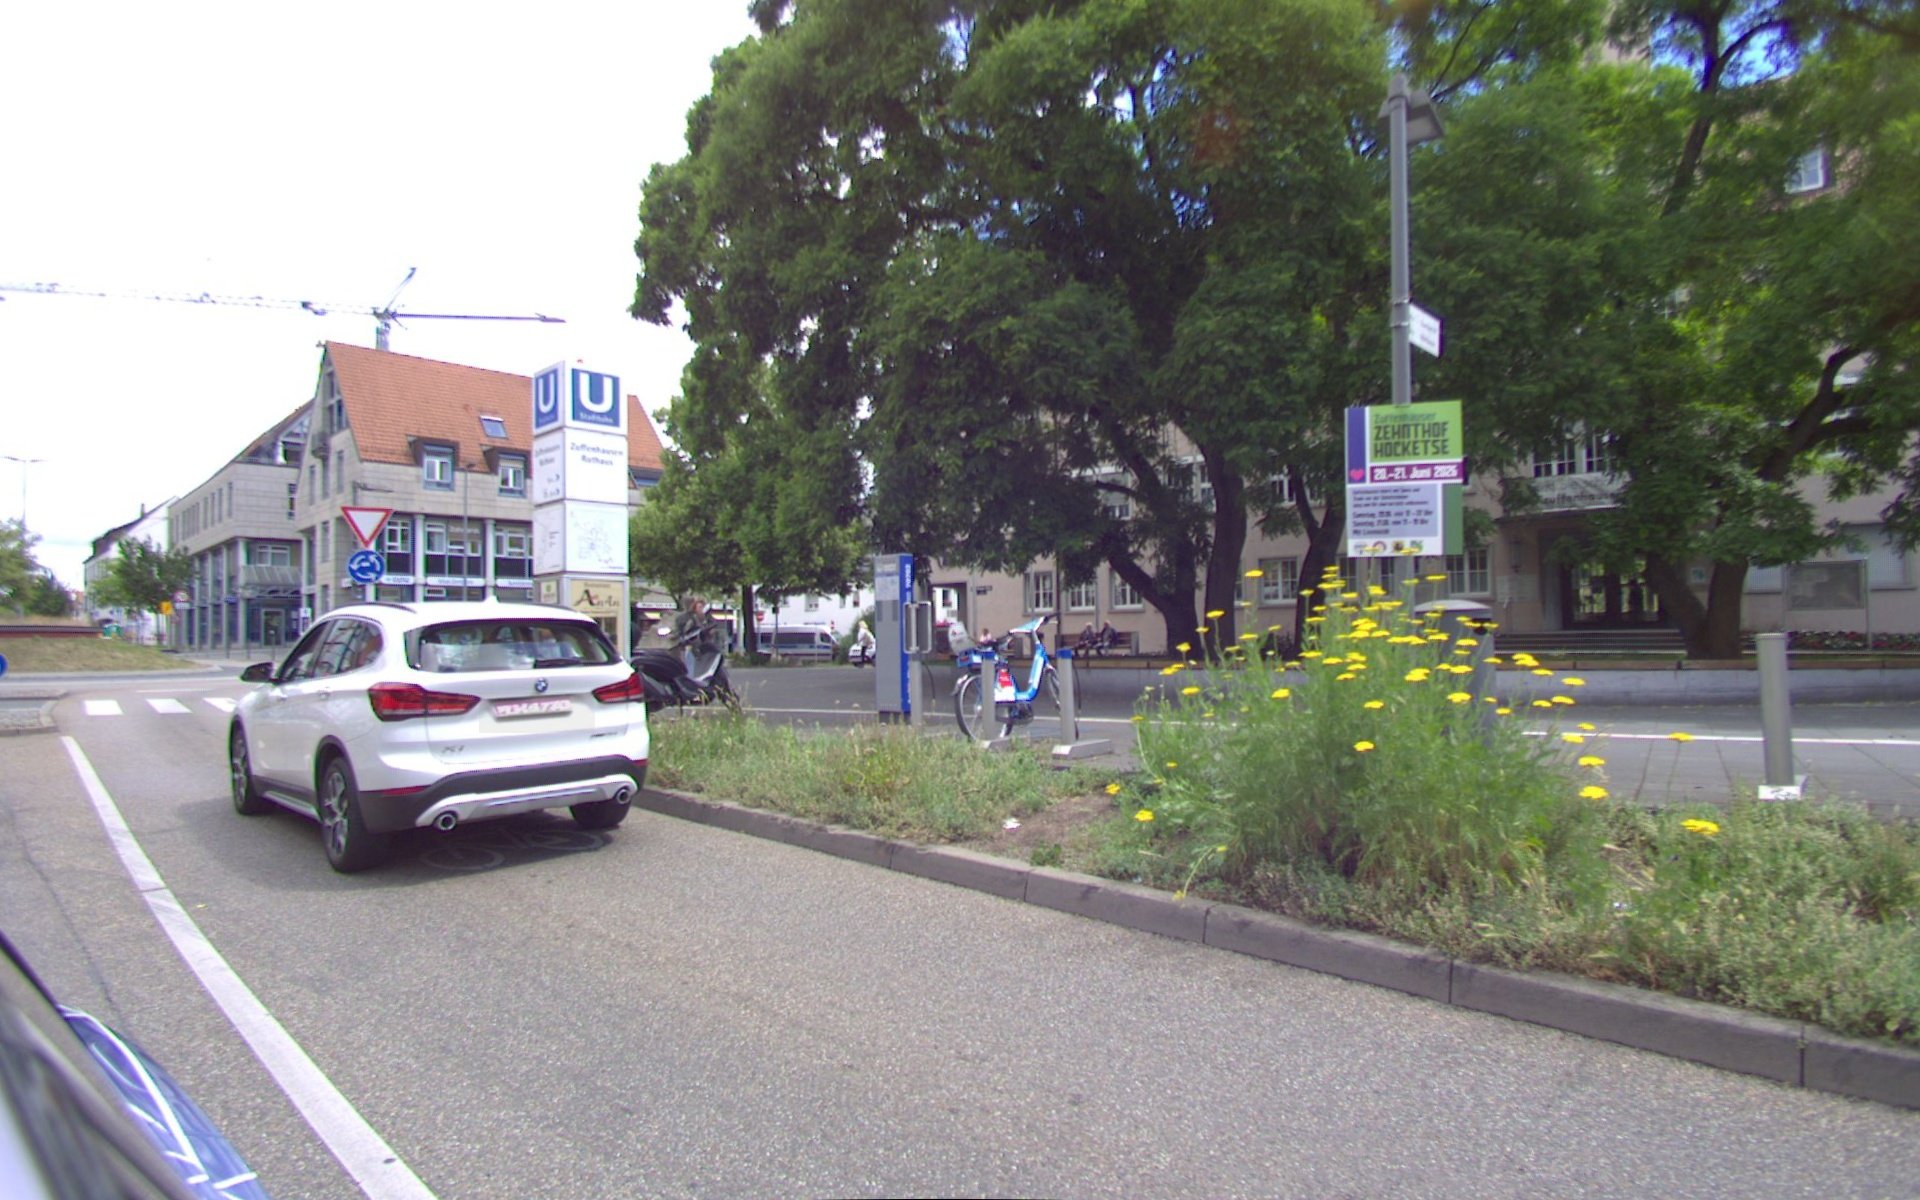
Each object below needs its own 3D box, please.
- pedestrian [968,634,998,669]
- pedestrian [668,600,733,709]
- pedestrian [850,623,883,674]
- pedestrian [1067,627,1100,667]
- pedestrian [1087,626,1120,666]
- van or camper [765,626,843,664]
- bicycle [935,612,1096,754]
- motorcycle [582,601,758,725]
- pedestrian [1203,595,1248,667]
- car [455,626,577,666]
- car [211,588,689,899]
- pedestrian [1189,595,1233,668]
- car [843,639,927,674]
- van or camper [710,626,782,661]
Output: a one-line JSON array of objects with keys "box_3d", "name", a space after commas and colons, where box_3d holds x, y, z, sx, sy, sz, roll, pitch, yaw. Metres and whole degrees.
[{"box_3d": [0.790, 1.766, 34.836, 0.689, 1.184, 0.807, -4, -3, 36], "name": "pedestrian"}, {"box_3d": [-4.033, 0.839, 15.723, 0.652, 1.641, 0.800, 1, -3, -42], "name": "pedestrian"}, {"box_3d": [-3.129, 1.621, 33.852, 0.816, 1.688, 0.682, -4, -3, 37], "name": "pedestrian"}, {"box_3d": [3.949, 1.489, 32.361, 0.689, 1.235, 0.807, -4, -3, 36], "name": "pedestrian"}, {"box_3d": [4.524, 1.450, 31.912, 0.689, 1.235, 0.807, -4, -3, 36], "name": "pedestrian"}, {"box_3d": [-10.222, 2.927, 66.391, 4.634, 2.401, 1.989, -1, -2, 17], "name": "van or camper"}, {"box_3d": [0.512, 0.675, 8.593, 0.514, 1.090, 1.671, -4, -4, 36], "name": "bicycle"}, {"box_3d": [-3.669, 0.783, 12.996, 0.647, 1.461, 2.167, 0, -2, 39], "name": "motorcycle"}, {"box_3d": [7.077, 0.833, 26.976, 0.877, 1.864, 0.653, -4, -3, 41], "name": "pedestrian"}, {"box_3d": [-20.051, 2.039, 45.785, 4.810, 1.666, 1.751, 0, -1, -33], "name": "car"}, {"box_3d": [-3.865, 0.789, 7.305, 4.166, 1.597, 1.802, -2, -2, 44], "name": "car"}, {"box_3d": [6.561, 0.834, 26.446, 0.829, 1.864, 0.653, -4, -3, 41], "name": "pedestrian"}, {"box_3d": [-3.792, 2.852, 51.562, 4.013, 1.551, 1.749, 0, -1, -42], "name": "car"}, {"box_3d": [-15.023, 3.084, 71.141, 4.634, 2.401, 1.989, -1, -2, 17], "name": "van or camper"}]
